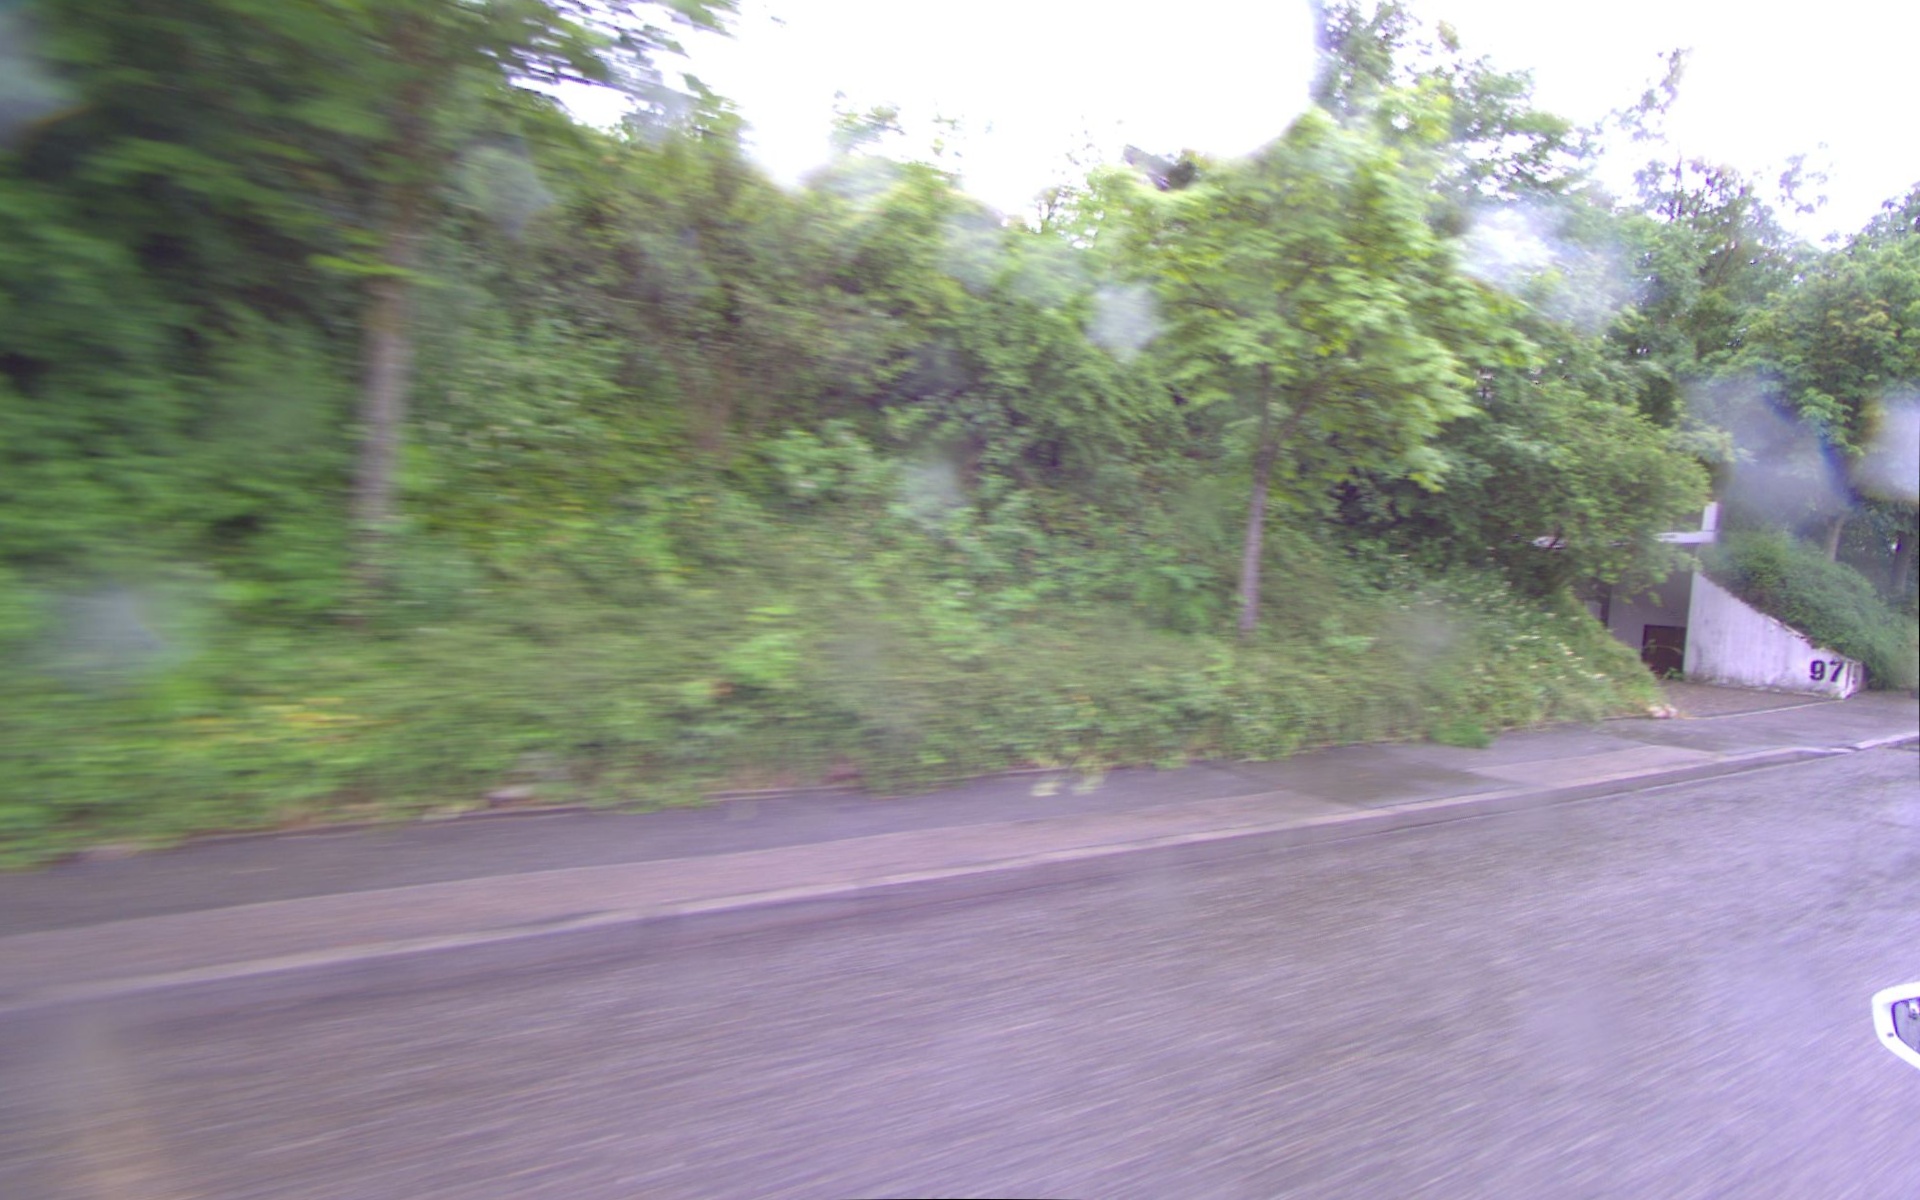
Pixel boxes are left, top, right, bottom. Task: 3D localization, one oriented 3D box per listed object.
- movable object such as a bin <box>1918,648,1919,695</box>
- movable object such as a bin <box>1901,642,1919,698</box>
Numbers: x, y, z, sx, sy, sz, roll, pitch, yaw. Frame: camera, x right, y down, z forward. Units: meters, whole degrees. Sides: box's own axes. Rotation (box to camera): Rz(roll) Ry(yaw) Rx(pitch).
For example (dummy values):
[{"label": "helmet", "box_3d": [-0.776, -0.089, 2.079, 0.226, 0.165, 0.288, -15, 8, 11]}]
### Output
[{"label": "movable object such as a bin", "box_3d": [17.139, 1.112, 17.398, 0.666, 1.095, 0.644, 1, 1, -35]}, {"label": "movable object such as a bin", "box_3d": [16.474, 1.193, 17.002, 0.666, 0.923, 0.644, 1, 1, -35]}]
